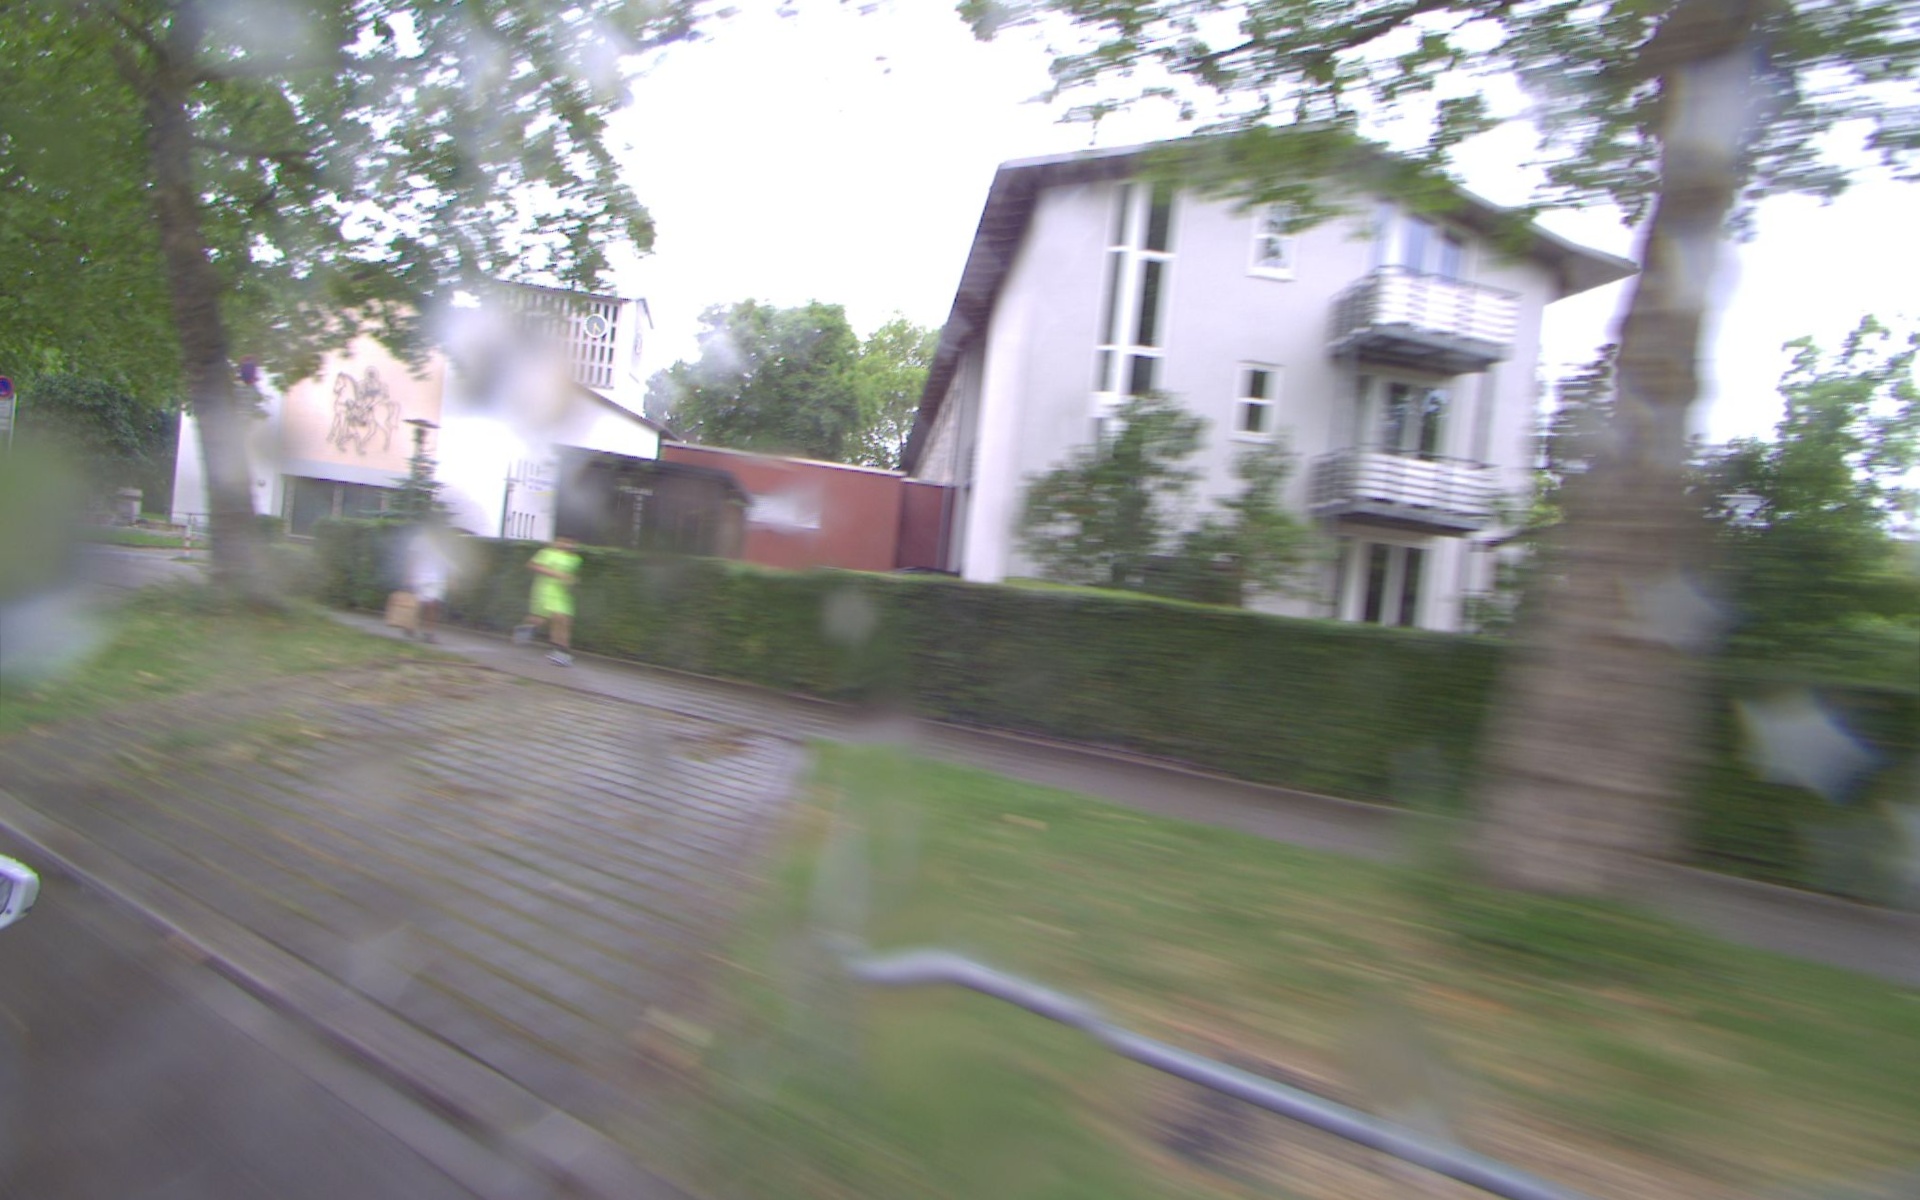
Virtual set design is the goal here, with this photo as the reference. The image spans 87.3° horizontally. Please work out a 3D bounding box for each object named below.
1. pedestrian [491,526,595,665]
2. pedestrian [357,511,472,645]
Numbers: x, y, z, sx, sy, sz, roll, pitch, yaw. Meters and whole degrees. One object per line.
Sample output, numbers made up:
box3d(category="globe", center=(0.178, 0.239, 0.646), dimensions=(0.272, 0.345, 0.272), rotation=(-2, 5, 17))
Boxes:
box3d(category="pedestrian", center=(-5.010, -0.055, 12.090), dimensions=(0.950, 1.558, 0.557), rotation=(7, 1, 27))
box3d(category="pedestrian", center=(-6.795, -0.262, 12.551), dimensions=(0.845, 1.558, 0.834), rotation=(7, 2, 27))
